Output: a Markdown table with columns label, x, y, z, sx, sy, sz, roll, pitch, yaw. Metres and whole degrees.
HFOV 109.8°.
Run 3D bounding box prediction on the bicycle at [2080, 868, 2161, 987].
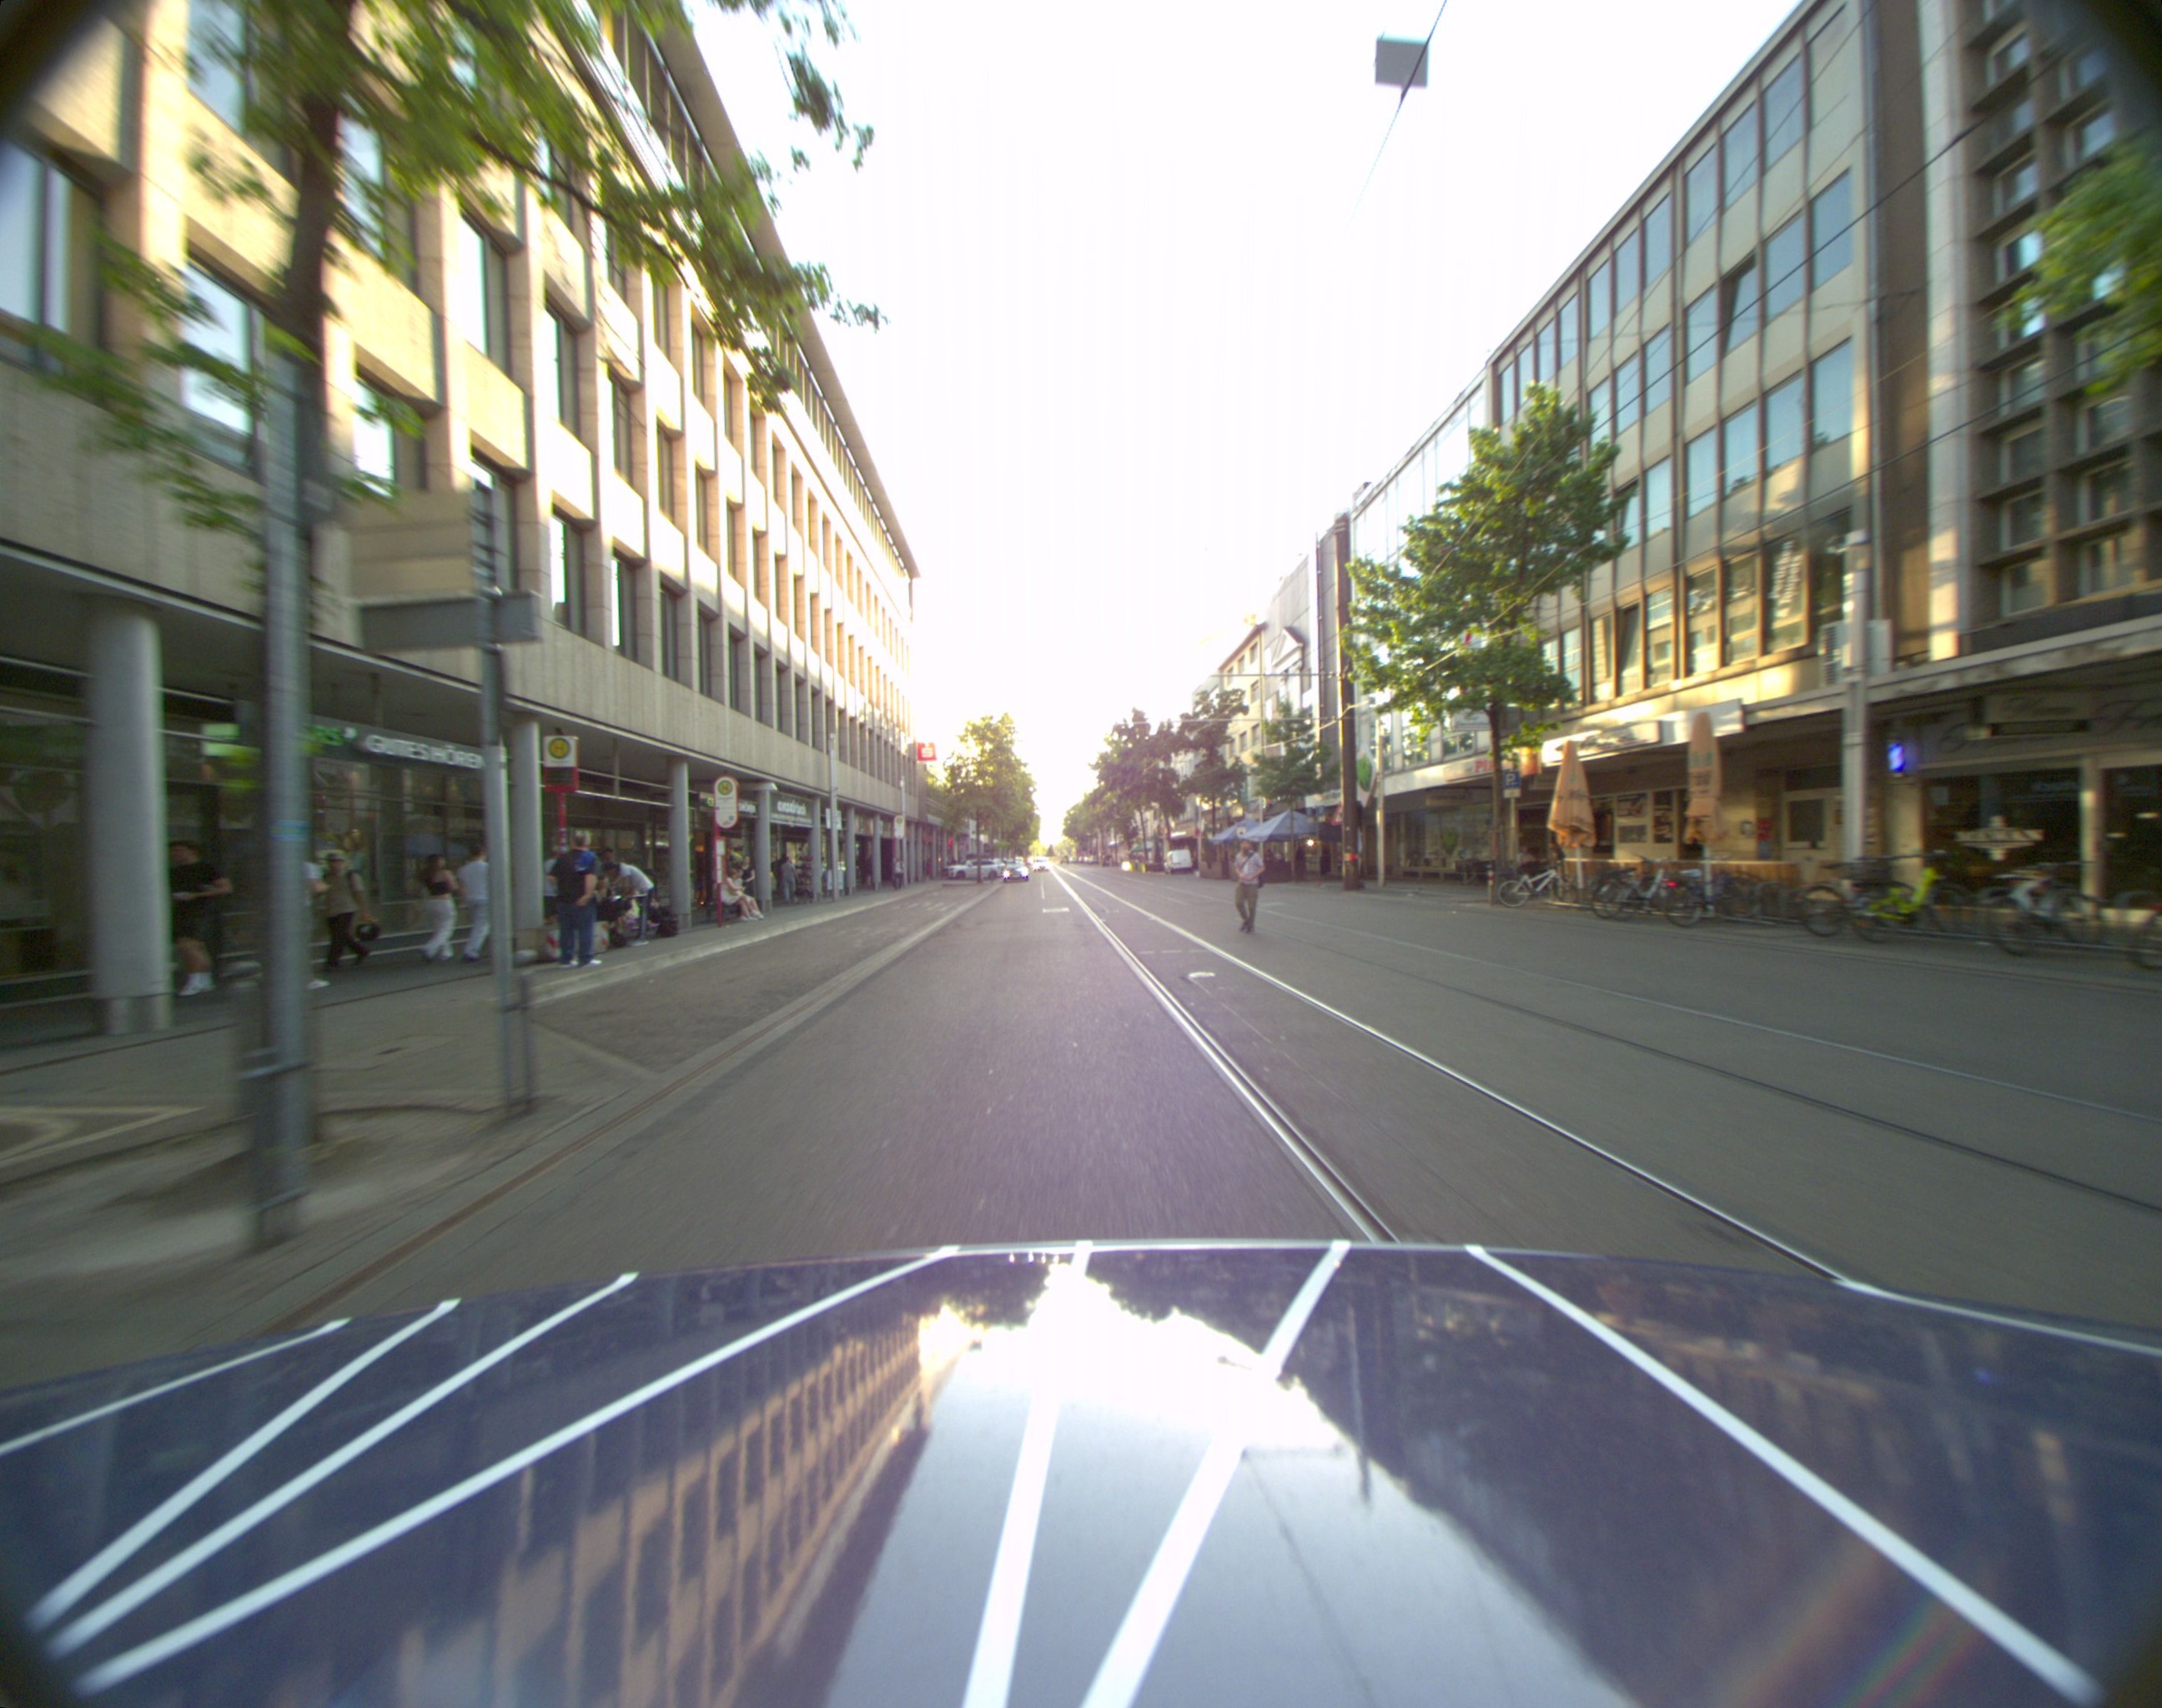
| label | x | y | z | sx | sy | sz | roll | pitch | yaw |
| --- | --- | --- | --- | --- | --- | --- | --- | --- | --- |
| bicycle | 10.994 | 0.680 | 7.531 | 1.777 | 1.065 | 0.489 | -3 | 0 | -8 |

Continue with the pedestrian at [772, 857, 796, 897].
| label | x | y | z | sx | sy | sz | roll | pitch | yaw |
| --- | --- | --- | --- | --- | --- | --- | --- | --- | --- |
| pedestrian | -12.496 | 0.960 | 32.001 | 0.712 | 1.634 | 0.818 | -1 | 1 | -3 |

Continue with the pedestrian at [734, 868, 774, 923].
| label | x | y | z | sx | sy | sz | roll | pitch | yaw |
| --- | --- | --- | --- | --- | --- | --- | --- | --- | --- |
| pedestrian | -8.153 | 1.033 | 18.945 | 0.720 | 1.307 | 0.524 | -2 | 1 | -1 |

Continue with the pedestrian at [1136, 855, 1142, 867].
| label | x | y | z | sx | sy | sz | roll | pitch | yaw |
| --- | --- | --- | --- | --- | --- | --- | --- | --- | --- |
| pedestrian | 6.530 | 0.757 | 85.966 | 0.649 | 1.378 | 0.650 | -1 | 0 | 4 |

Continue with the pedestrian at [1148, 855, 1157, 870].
| label | x | y | z | sx | sy | sz | roll | pitch | yaw |
| --- | --- | --- | --- | --- | --- | --- | --- | --- | --- |
| pedestrian | 6.893 | 0.819 | 73.606 | 0.648 | 1.451 | 0.651 | -1 | 1 | 27 |

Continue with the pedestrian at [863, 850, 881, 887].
| label | x | y | z | sx | sy | sz | roll | pitch | yaw |
| --- | --- | --- | --- | --- | --- | --- | --- | --- | --- |
| pedestrian | -10.735 | 0.754 | 38.994 | 0.709 | 1.878 | 0.796 | 0 | 1 | -2 |

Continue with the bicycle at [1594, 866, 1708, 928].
| label | x | y | z | sx | sy | sz | roll | pitch | yaw |
| --- | --- | --- | --- | --- | --- | --- | --- | --- | --- |
| bicycle | 10.289 | 0.765 | 13.731 | 1.777 | 0.984 | 0.489 | -3 | 0 | -8 |

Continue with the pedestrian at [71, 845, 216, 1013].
| label | x | y | z | sx | sy | sz | roll | pitch | yaw |
| --- | --- | --- | --- | --- | --- | --- | --- | --- | --- |
| pedestrian | -10.900 | 0.837 | 8.867 | 0.689 | 1.872 | 0.773 | 0 | 1 | -4 |

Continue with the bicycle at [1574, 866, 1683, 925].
| label | x | y | z | sx | sy | sz | roll | pitch | yaw |
| --- | --- | --- | --- | --- | --- | --- | --- | --- | --- |
| bicycle | 10.257 | 0.762 | 14.258 | 1.777 | 0.984 | 0.489 | -3 | 0 | -8 |

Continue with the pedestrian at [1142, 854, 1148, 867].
| label | x | y | z | sx | sy | sz | roll | pitch | yaw |
| --- | --- | --- | --- | --- | --- | --- | --- | --- | --- |
| pedestrian | 7.176 | 0.745 | 84.723 | 0.649 | 1.378 | 0.650 | -1 | 0 | 4 |

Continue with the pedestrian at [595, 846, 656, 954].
| label | x | y | z | sx | sy | sz | roll | pitch | yaw |
| --- | --- | --- | --- | --- | --- | --- | --- | --- | --- |
| pedestrian | -7.906 | 0.784 | 13.205 | 0.641 | 1.829 | 0.667 | 0 | 1 | -2 |

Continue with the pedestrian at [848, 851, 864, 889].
| label | x | y | z | sx | sy | sz | roll | pitch | yaw |
| --- | --- | --- | --- | --- | --- | --- | --- | --- | --- |
| pedestrian | -11.247 | 0.796 | 37.993 | 0.618 | 1.878 | 0.683 | 0 | 1 | -1 |

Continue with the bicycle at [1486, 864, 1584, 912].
| label | x | y | z | sx | sy | sz | roll | pitch | yaw |
| --- | --- | --- | --- | --- | --- | --- | --- | --- | --- |
| bicycle | 10.056 | 0.762 | 16.866 | 1.774 | 0.960 | 0.490 | -3 | 1 | 14 |

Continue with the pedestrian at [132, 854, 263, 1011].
| label | x | y | z | sx | sy | sz | roll | pitch | yaw |
| --- | --- | --- | --- | --- | --- | --- | --- | --- | --- |
| pedestrian | -10.231 | 0.873 | 8.831 | 0.584 | 1.742 | 0.773 | 0 | 1 | -4 |

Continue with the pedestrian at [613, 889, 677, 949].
| label | x | y | z | sx | sy | sz | roll | pitch | yaw |
| --- | --- | --- | --- | --- | --- | --- | --- | --- | --- |
| pedestrian | -7.992 | 1.181 | 13.945 | 0.815 | 1.036 | 0.544 | -2 | 1 | -1 |

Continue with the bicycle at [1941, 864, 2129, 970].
| label | x | y | z | sx | sy | sz | roll | pitch | yaw |
| --- | --- | --- | --- | --- | --- | --- | --- | --- | --- |
| bicycle | 10.974 | 0.701 | 8.751 | 1.777 | 1.065 | 0.489 | -3 | 0 | -8 |

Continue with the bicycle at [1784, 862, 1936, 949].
| label | x | y | z | sx | sy | sz | roll | pitch | yaw |
| --- | --- | --- | --- | --- | --- | --- | --- | --- | --- |
| bicycle | 10.822 | 0.690 | 10.564 | 1.777 | 1.065 | 0.489 | -3 | 0 | -8 |

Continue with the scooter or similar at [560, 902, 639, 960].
| label | x | y | z | sx | sy | sz | roll | pitch | yaw |
| --- | --- | --- | --- | --- | --- | --- | --- | --- | --- |
| scooter or similar | -8.079 | 1.282 | 12.781 | 0.835 | 0.879 | 0.687 | -3 | 1 | 12 |

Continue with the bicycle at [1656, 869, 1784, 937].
| label | x | y | z | sx | sy | sz | roll | pitch | yaw |
| --- | --- | --- | --- | --- | --- | --- | --- | --- | --- |
| bicycle | 10.346 | 0.776 | 12.320 | 1.777 | 0.984 | 0.489 | -3 | 0 | -8 |

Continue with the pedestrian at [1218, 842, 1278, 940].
| label | x | y | z | sx | sy | sz | roll | pitch | yaw |
| --- | --- | --- | --- | --- | --- | --- | --- | --- | --- |
| pedestrian | 3.185 | 0.687 | 14.452 | 0.820 | 1.782 | 0.992 | -2 | 0 | 28 |

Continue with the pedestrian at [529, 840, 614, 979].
| label | x | y | z | sx | sy | sz | roll | pitch | yaw |
| --- | --- | --- | --- | --- | --- | --- | --- | --- | --- |
| pedestrian | -6.962 | 0.734 | 10.407 | 0.670 | 1.829 | 0.708 | 0 | 1 | -3 |

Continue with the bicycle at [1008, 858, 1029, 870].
| label | x | y | z | sx | sy | sz | roll | pitch | yaw |
| --- | --- | --- | --- | --- | --- | --- | --- | --- | --- |
| bicycle | -5.874 | 0.926 | 71.514 | 1.861 | 1.067 | 0.734 | -2 | 1 | 22 |

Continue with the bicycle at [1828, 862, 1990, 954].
| label | x | y | z | sx | sy | sz | roll | pitch | yaw |
| --- | --- | --- | --- | --- | --- | --- | --- | --- | --- |
| bicycle | 10.868 | 0.694 | 9.988 | 1.777 | 1.065 | 0.489 | -3 | 0 | -8 |

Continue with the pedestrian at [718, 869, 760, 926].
| label | x | y | z | sx | sy | sz | roll | pitch | yaw |
| --- | --- | --- | --- | --- | --- | --- | --- | --- | --- |
| pedestrian | -8.268 | 1.042 | 18.397 | 0.720 | 1.307 | 0.532 | -2 | 1 | -1 |

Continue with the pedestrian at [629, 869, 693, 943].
| label | x | y | z | sx | sy | sz | roll | pitch | yaw |
| --- | --- | --- | --- | --- | --- | --- | --- | --- | --- |
| pedestrian | -8.218 | 1.004 | 14.890 | 0.815 | 1.373 | 0.662 | -2 | 1 | -1 |

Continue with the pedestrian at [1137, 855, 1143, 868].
| label | x | y | z | sx | sy | sz | roll | pitch | yaw |
| --- | --- | --- | --- | --- | --- | --- | --- | --- | --- |
| pedestrian | 6.291 | 0.812 | 80.819 | 0.649 | 1.378 | 0.650 | -1 | 0 | 4 |

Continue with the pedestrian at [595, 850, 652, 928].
| label | x | y | z | sx | sy | sz | roll | pitch | yaw |
| --- | --- | --- | --- | --- | --- | --- | --- | --- | --- |
| pedestrian | -11.289 | 0.846 | 18.780 | 0.846 | 1.878 | 0.898 | 0 | 1 | -2 |

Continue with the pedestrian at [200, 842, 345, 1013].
| label | x | y | z | sx | sy | sz | roll | pitch | yaw |
| --- | --- | --- | --- | --- | --- | --- | --- | --- | --- |
| pedestrian | -9.124 | 0.788 | 8.614 | 0.670 | 1.829 | 0.879 | 0 | 1 | -3 |

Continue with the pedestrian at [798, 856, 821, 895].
| label | x | y | z | sx | sy | sz | roll | pitch | yaw |
| --- | --- | --- | --- | --- | --- | --- | --- | --- | --- |
| pedestrian | -11.633 | 0.912 | 32.553 | 0.682 | 1.634 | 0.788 | -1 | 1 | -3 |

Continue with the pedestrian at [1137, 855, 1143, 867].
| label | x | y | z | sx | sy | sz | roll | pitch | yaw |
| --- | --- | --- | --- | --- | --- | --- | --- | --- | --- |
| pedestrian | 6.582 | 0.767 | 84.726 | 0.649 | 1.378 | 0.650 | -1 | 0 | 4 |

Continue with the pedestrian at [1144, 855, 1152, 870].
| label | x | y | z | sx | sy | sz | roll | pitch | yaw |
| --- | --- | --- | --- | --- | --- | --- | --- | --- | --- |
| pedestrian | 6.565 | 0.823 | 74.533 | 0.650 | 1.451 | 0.650 | -1 | 0 | -2 |

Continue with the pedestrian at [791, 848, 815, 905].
| label | x | y | z | sx | sy | sz | roll | pitch | yaw |
| --- | --- | --- | --- | --- | --- | --- | --- | --- | --- |
| pedestrian | -9.610 | 0.770 | 26.285 | 0.579 | 1.933 | 0.655 | 0 | 1 | -3 |
